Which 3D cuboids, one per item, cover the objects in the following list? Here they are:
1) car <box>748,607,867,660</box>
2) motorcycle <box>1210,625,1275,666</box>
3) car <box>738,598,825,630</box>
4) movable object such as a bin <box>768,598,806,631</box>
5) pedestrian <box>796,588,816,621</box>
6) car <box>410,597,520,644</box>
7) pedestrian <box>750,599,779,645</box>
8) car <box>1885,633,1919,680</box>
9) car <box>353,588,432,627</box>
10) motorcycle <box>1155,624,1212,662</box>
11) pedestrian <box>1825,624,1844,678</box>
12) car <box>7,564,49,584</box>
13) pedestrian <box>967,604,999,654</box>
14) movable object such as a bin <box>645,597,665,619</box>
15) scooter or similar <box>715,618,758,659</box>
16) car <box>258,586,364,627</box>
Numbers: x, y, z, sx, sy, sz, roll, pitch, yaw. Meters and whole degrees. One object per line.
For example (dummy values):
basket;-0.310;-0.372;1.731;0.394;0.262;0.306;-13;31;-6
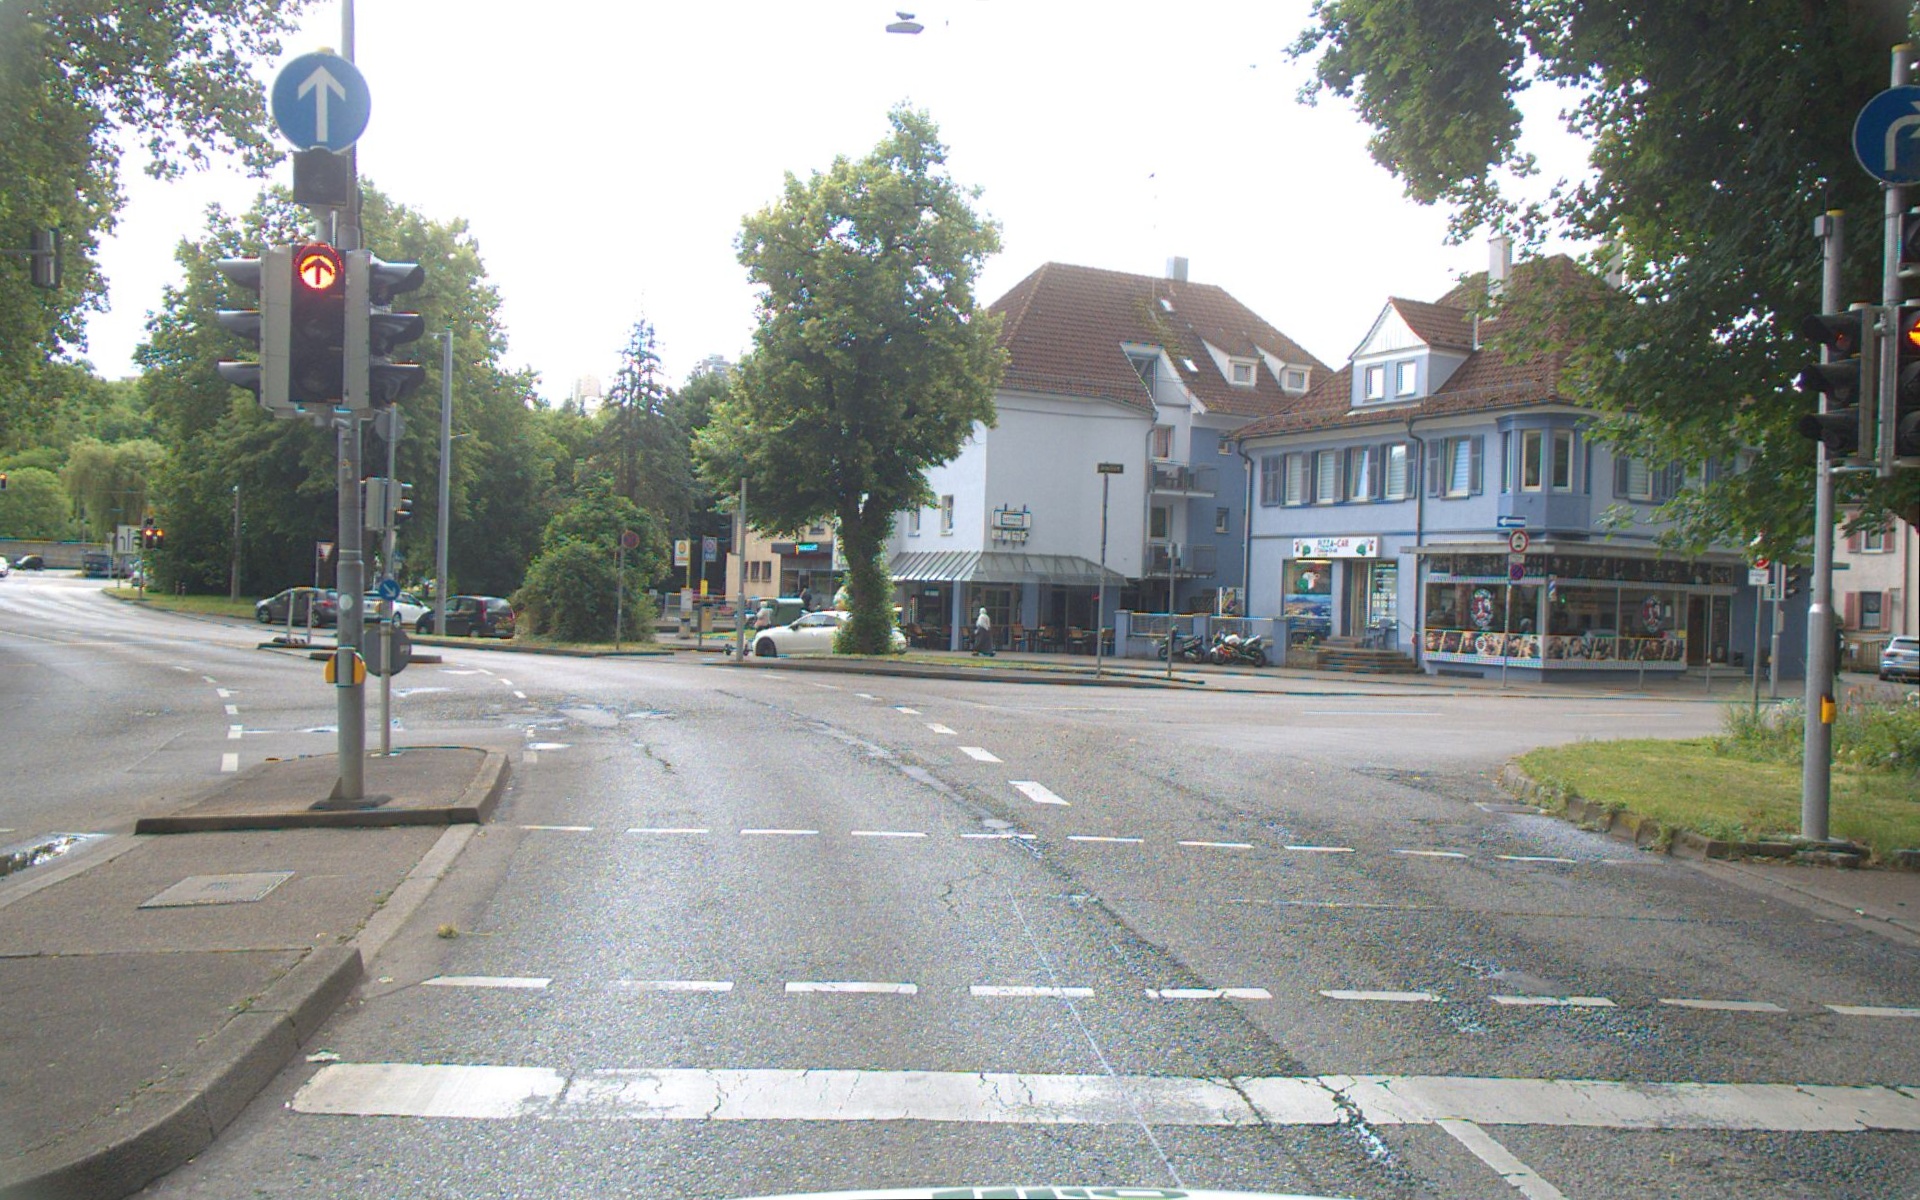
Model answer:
car;-4.249;0.919;45.953;3.110;1.378;1.435;1;0;34
motorcycle;8.268;1.313;48.475;1.765;1.141;0.692;1;0;38
car;-8.163;0.644;75.726;3.690;1.368;1.421;1;0;-27
movable object such as a bin;-7.723;0.660;73.836;1.424;1.433;0.959;1;0;-27
pedestrian;-7.463;0.224;80.186;0.670;1.572;0.699;2;0;-35
car;-16.012;0.661;53.456;3.519;1.418;1.468;1;0;32
pedestrian;-6.739;0.770;57.112;0.694;1.572;0.675;1;0;39
car;29.847;1.741;51.409;1.471;1.393;3.164;1;0;38
car;-22.673;0.308;66.178;1.512;1.490;3.398;1;0;10
motorcycle;6.788;1.295;50.232;1.609;1.082;0.690;1;0;44
pedestrian;25.166;1.454;47.588;0.449;1.544;0.587;0;-1;25
car;-102.224;-2.826;181.482;3.948;2.049;1.978;1;0;-32
pedestrian;0.742;0.923;52.858;0.754;1.572;0.675;1;-1;38
movable object such as a bin;-15.858;0.397;85.908;0.937;1.135;0.381;1;0;-22
scooter or similar;-5.735;0.984;42.536;0.408;1.029;1.567;1;0;20
car;-24.864;0.246;63.388;3.469;1.490;1.586;1;0;12
